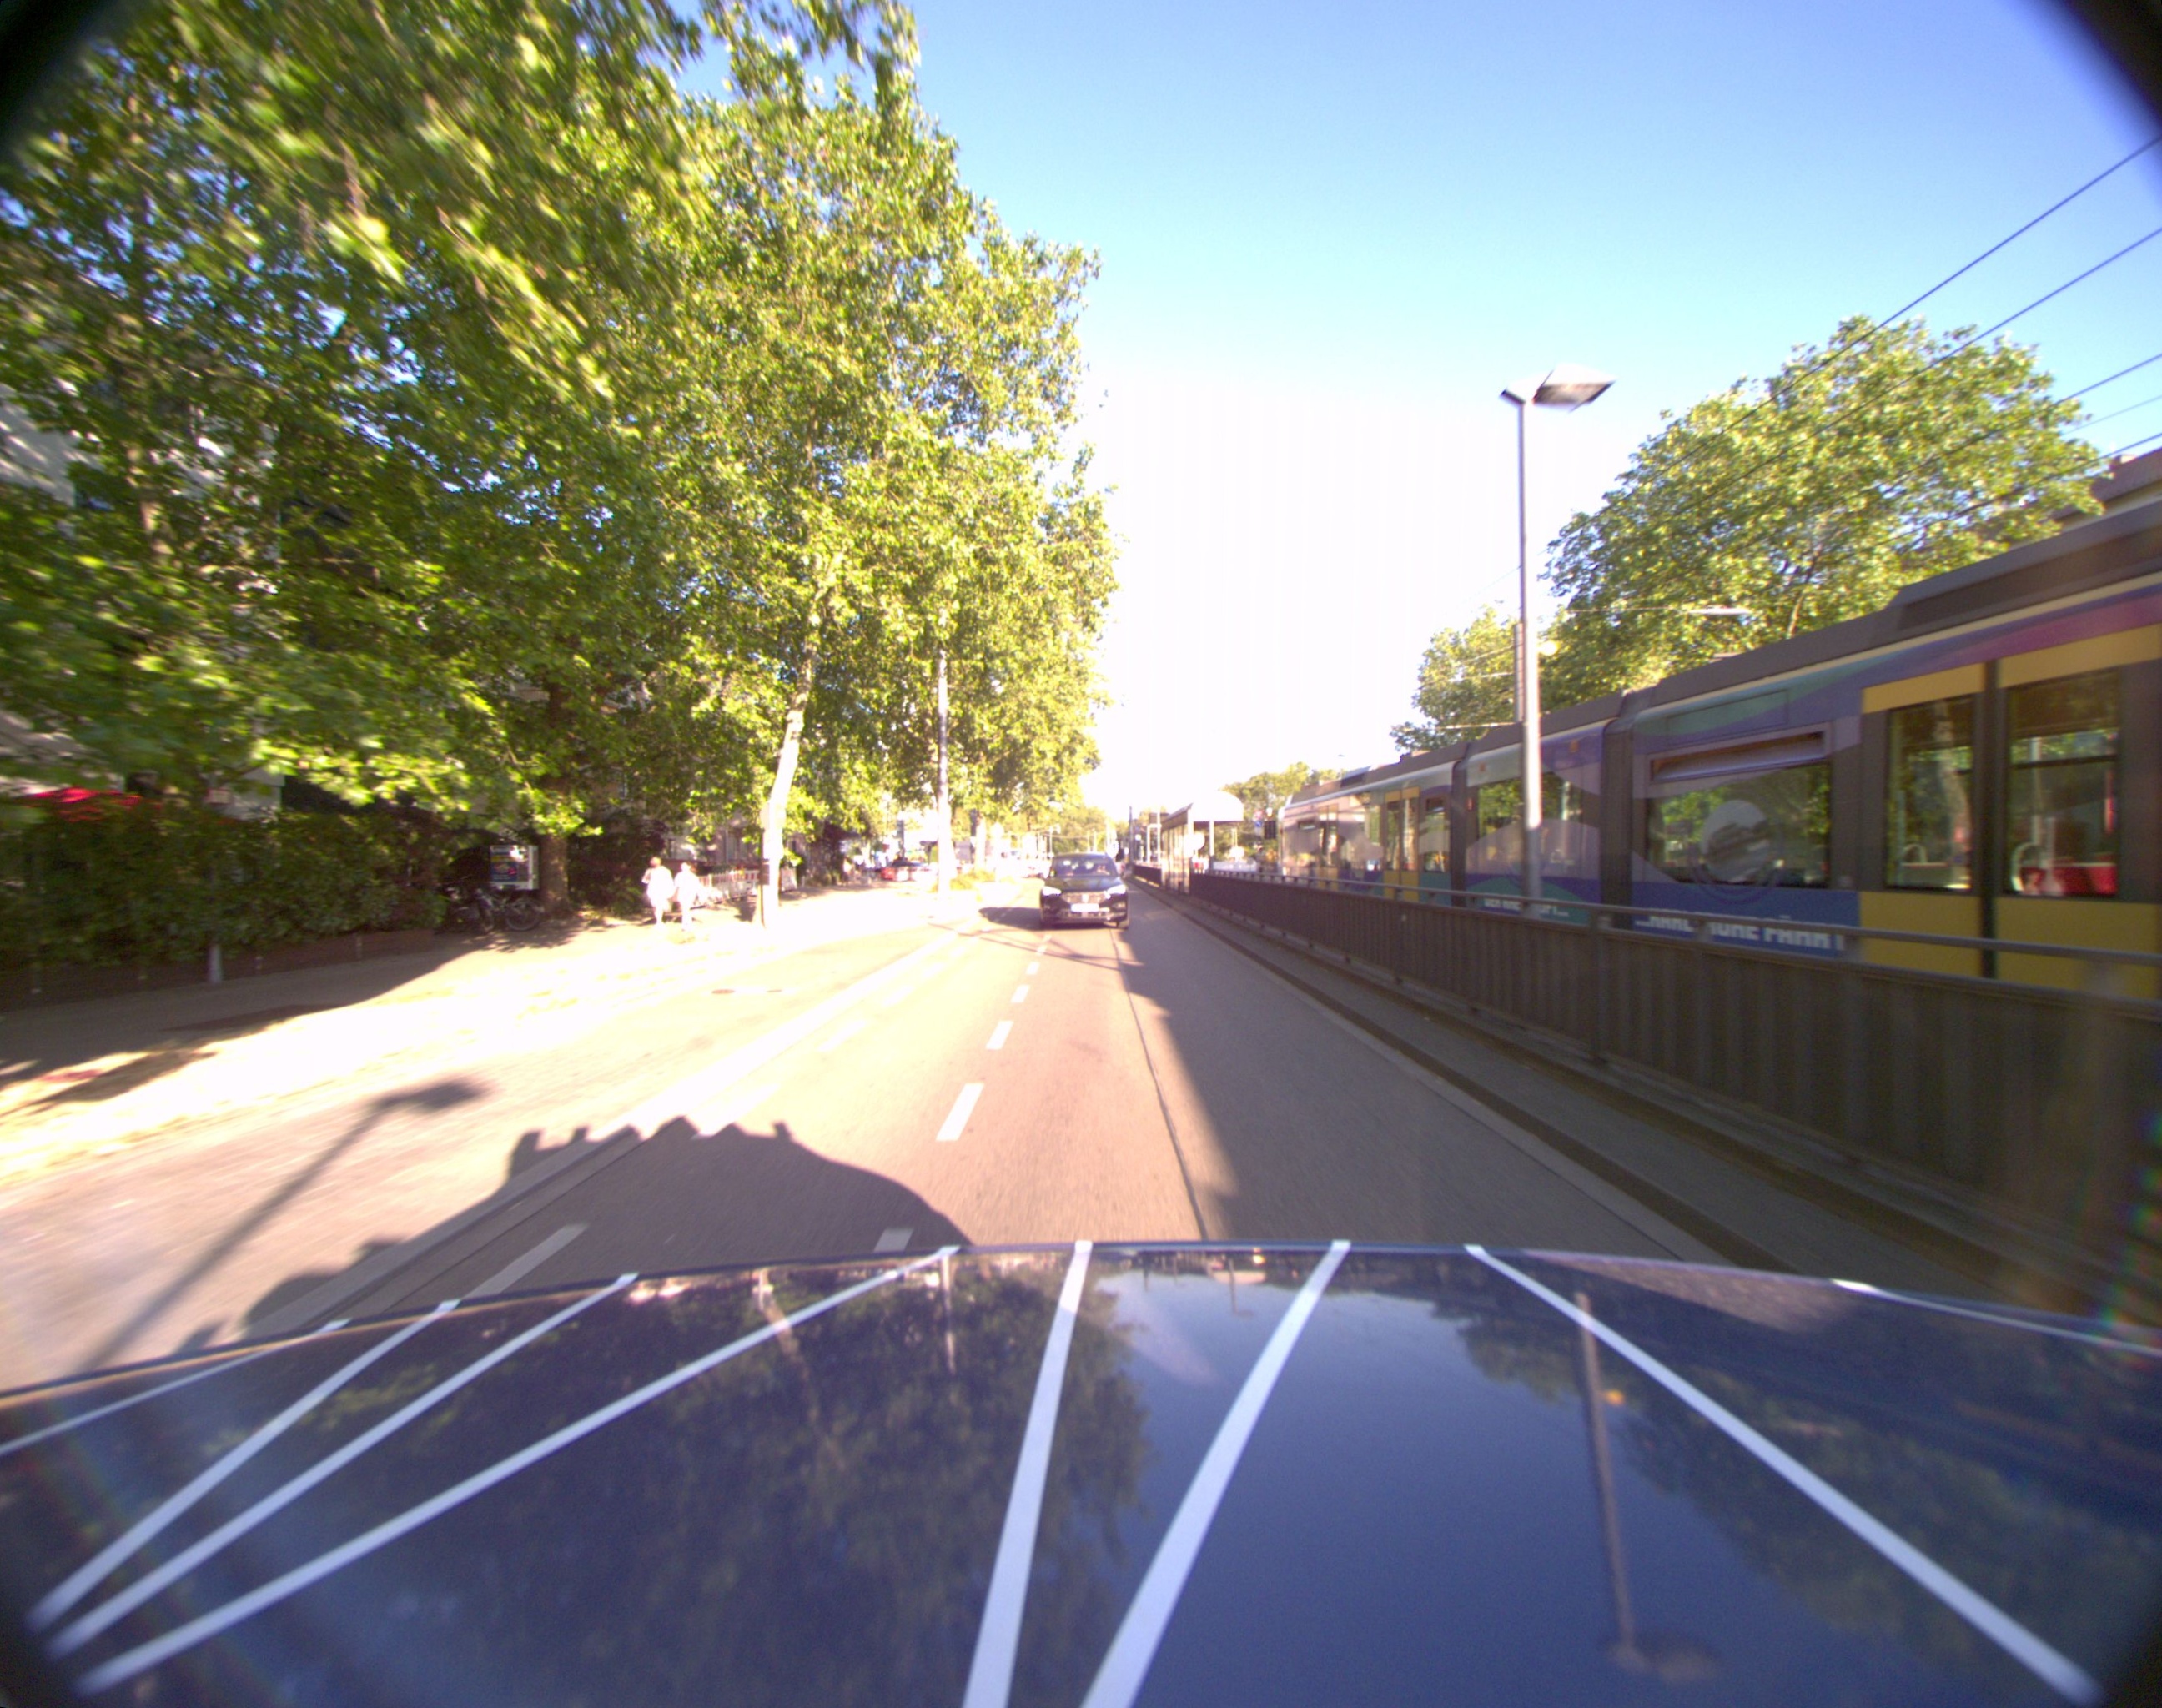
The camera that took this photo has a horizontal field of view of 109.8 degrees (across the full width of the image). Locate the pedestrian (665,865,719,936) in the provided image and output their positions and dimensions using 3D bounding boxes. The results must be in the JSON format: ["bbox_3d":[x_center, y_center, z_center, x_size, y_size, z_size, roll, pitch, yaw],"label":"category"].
[{"bbox_3d":[-8.804,1.037,17.225,0.792,1.563,0.816,-1,0,-4],"label":"pedestrian"}]

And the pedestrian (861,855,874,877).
[{"bbox_3d":[-16.537,0.942,58.843,0.677,1.697,0.586,-4,-4,35],"label":"pedestrian"}]

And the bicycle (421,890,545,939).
[{"bbox_3d":[-13.388,1.357,17.029,2.379,1.018,0.664,-1,0,7],"label":"bicycle"}]

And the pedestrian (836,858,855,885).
[{"bbox_3d":[-12.961,0.970,41.761,0.792,1.465,0.816,-1,0,-4],"label":"pedestrian"}]

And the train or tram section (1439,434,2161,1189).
[{"bbox_3d":[6.445,-0.209,4.608,2.735,3.528,12.784,0,0,1],"label":"train or tram section"}]

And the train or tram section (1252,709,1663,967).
[{"bbox_3d":[6.672,-0.241,17.127,2.857,3.512,13.396,0,0,1],"label":"train or tram section"}]

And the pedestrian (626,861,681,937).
[{"bbox_3d":[-9.645,0.994,17.164,0.792,1.657,0.816,-1,1,-4],"label":"pedestrian"}]

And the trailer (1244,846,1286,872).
[{"bbox_3d":[15.459,0.409,64.100,2.000,2.103,4.344,-1,0,-7],"label":"trailer"}]

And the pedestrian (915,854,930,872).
[{"bbox_3d":[-15.495,0.878,74.313,1.067,1.787,0.977,-1,1,22],"label":"pedestrian"}]

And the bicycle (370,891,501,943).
[{"bbox_3d":[-13.660,1.326,16.094,2.379,1.018,0.664,-1,1,8],"label":"bicycle"}]

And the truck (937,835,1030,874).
[{"bbox_3d":[-9.441,0.101,73.253,8.959,3.520,2.826,-1,0,30],"label":"truck"}]

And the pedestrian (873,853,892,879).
[{"bbox_3d":[-15.304,0.899,58.536,0.843,1.858,1.096,7,0,-40],"label":"pedestrian"}]

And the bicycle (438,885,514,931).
[{"bbox_3d":[-14.675,1.280,18.497,0.651,0.964,1.960,0,1,-13],"label":"bicycle"}]

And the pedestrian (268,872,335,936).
[{"bbox_3d":[-17.356,1.106,16.929,0.740,1.372,0.701,-1,0,4],"label":"pedestrian"}]

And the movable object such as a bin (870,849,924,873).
[{"bbox_3d":[-18.378,0.705,75.789,5.193,2.244,2.003,-1,2,32],"label":"movable object such as a bin"}]

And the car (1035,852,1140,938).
[{"bbox_3d":[0.149,0.822,16.995,1.998,1.637,4.204,-2,0,1],"label":"car"}]
